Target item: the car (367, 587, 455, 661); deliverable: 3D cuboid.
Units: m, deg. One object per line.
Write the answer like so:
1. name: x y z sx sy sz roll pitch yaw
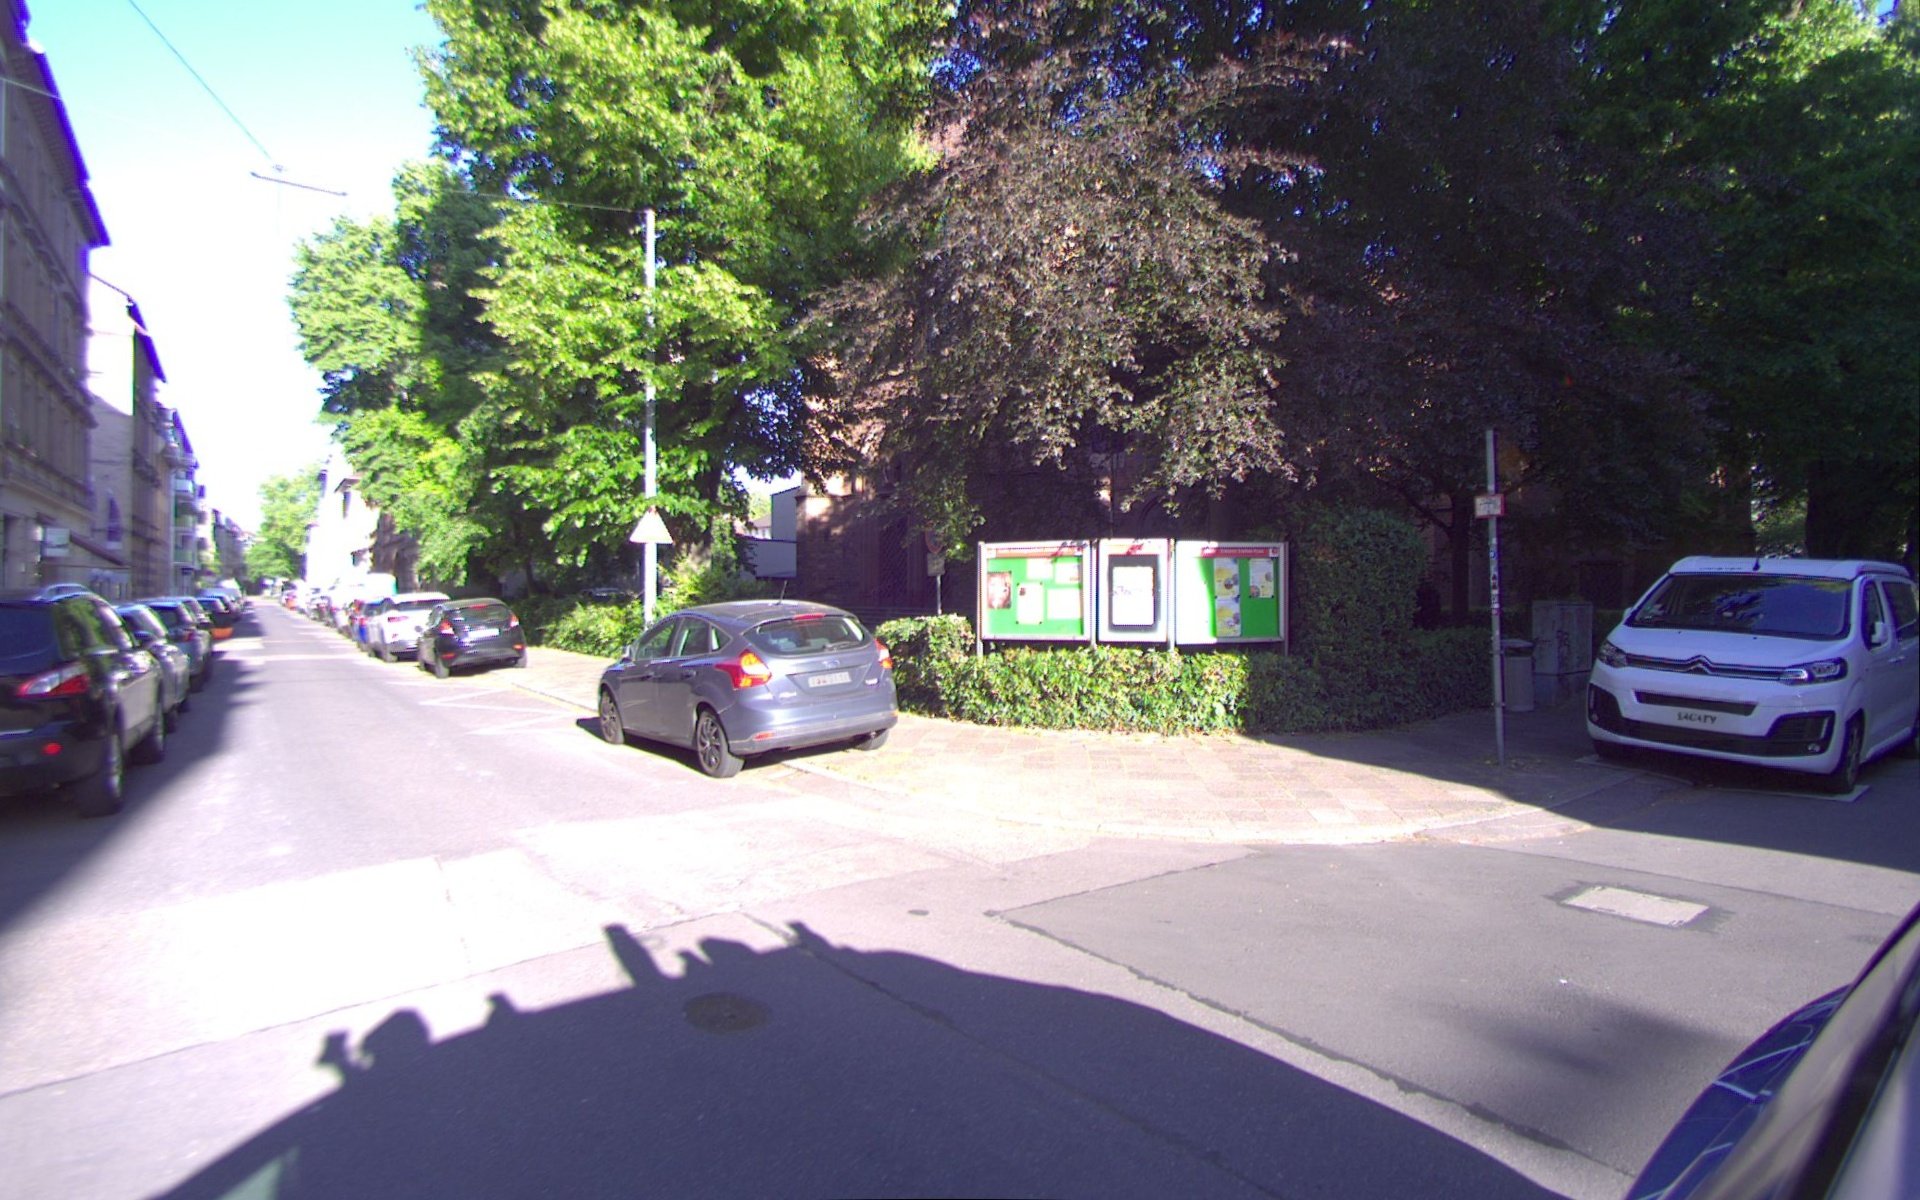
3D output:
1. car: -13.859 0.565 25.477 1.602 1.669 3.543 -2 1 -34

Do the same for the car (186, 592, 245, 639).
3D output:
1. car: -27.516 0.558 37.492 1.603 1.573 3.893 -2 1 -35

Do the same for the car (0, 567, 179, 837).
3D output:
1. car: -7.164 0.629 7.603 1.728 1.628 3.933 -2 1 -34

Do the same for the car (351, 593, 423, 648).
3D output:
1. car: -17.307 0.581 30.481 1.602 1.491 3.543 -2 1 -34

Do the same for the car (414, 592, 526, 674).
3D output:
1. car: -10.245 0.626 21.053 1.602 1.491 3.543 -2 1 -34

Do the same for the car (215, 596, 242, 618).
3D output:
1. car: -57.788 0.550 80.008 1.603 1.573 3.893 -2 1 -35

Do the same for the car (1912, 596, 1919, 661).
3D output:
1. car: 23.962 0.705 23.861 3.708 1.504 1.624 0 5 -39

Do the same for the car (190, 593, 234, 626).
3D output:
1. car: -38.125 0.466 51.654 1.603 1.573 3.893 -2 1 -35

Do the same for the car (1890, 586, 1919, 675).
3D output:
1. car: 20.080 0.611 20.509 1.620 1.644 3.803 6 5 43

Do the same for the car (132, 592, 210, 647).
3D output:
1. car: -24.843 0.578 31.969 1.602 1.573 3.894 -2 1 -34

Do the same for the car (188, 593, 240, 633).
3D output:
1. car: -31.785 0.531 43.192 1.603 1.573 3.893 -2 1 -35

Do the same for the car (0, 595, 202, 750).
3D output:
1. car: -10.183 0.737 12.037 1.602 1.491 3.868 -2 1 -34

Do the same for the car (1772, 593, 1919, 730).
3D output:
1. car: 12.177 0.708 13.433 3.764 1.591 1.720 0 0 -44

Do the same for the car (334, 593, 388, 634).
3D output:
1. car: -23.820 0.529 40.196 1.602 1.491 3.543 -2 1 -34

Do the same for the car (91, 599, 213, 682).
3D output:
1. car: -16.550 0.757 20.882 1.602 1.491 3.701 -2 1 -34

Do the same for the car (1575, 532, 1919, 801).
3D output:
1. car: 7.975 0.468 9.825 4.705 2.023 1.919 0 2 -39

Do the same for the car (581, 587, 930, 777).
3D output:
1. car: -2.206 0.662 10.105 1.766 1.457 3.927 -2 1 -39

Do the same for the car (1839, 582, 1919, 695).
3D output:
1. car: 16.028 0.591 16.839 1.741 1.622 4.196 7 6 45

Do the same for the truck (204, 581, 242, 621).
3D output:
1. truck: -43.787 0.053 60.177 1.603 2.243 4.365 -2 1 -34

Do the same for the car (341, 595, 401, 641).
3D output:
1. car: -21.146 0.608 36.267 1.602 1.491 3.543 -2 1 -34

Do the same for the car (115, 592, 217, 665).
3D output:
1. car: -19.294 0.647 24.733 1.602 1.573 3.894 -2 1 -34

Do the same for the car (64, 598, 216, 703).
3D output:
1. car: -13.606 0.758 16.970 1.602 1.491 3.543 -2 1 -34
